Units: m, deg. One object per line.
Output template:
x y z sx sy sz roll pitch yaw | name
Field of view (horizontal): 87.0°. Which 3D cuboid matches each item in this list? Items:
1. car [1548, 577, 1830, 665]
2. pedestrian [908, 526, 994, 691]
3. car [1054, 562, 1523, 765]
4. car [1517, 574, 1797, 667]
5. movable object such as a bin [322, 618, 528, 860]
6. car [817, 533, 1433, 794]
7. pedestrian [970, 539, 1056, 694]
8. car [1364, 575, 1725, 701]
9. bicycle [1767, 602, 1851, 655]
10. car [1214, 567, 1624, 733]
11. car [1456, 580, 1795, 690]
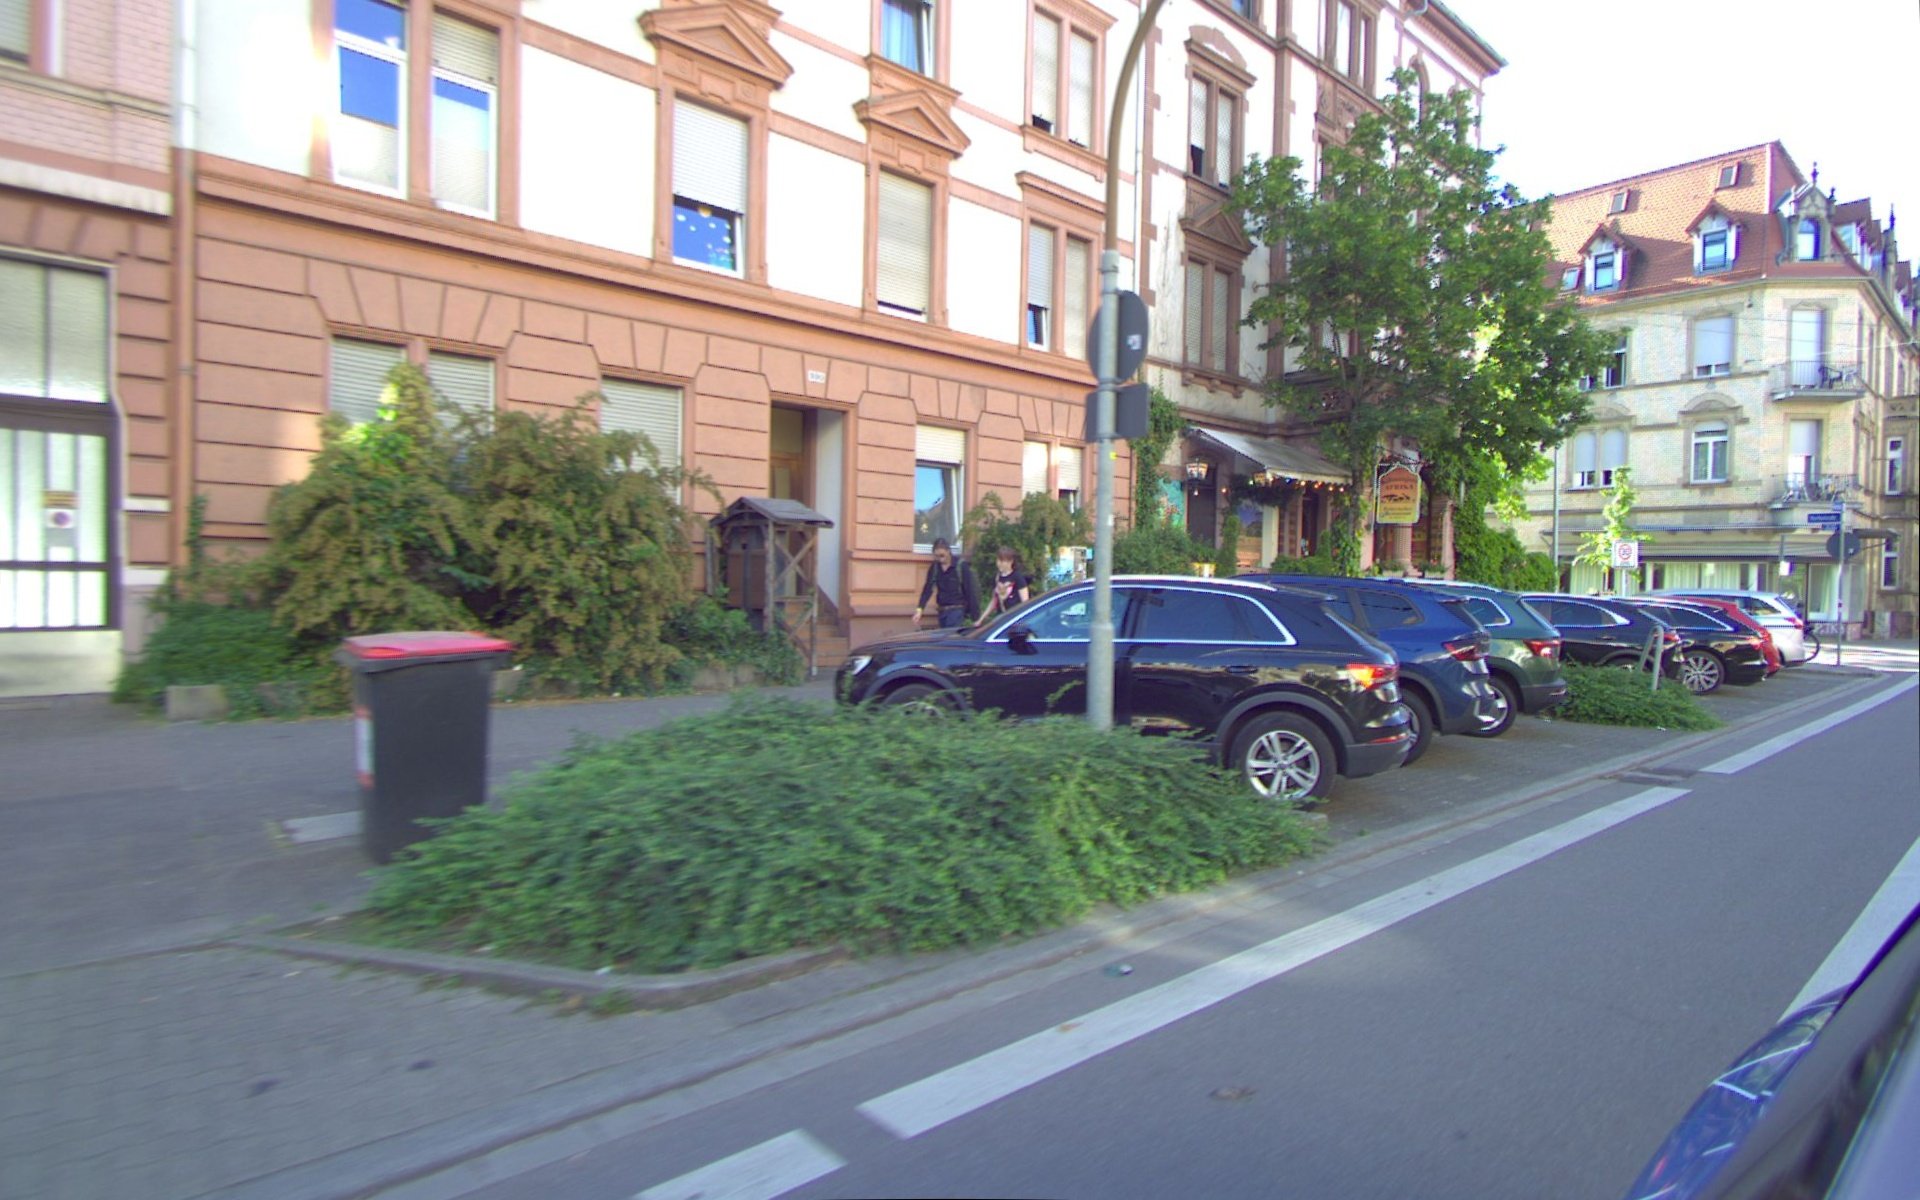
14.465 0.360 20.432 4.320 1.616 1.837 0 1 26 | car
-0.103 0.086 11.536 0.848 1.800 0.519 0 0 -41 | pedestrian
3.116 0.474 9.843 3.958 1.616 2.070 0 1 26 | car
12.596 0.319 18.635 3.958 1.556 1.902 0 1 26 | car
-2.646 0.630 5.007 0.792 1.040 0.605 0 2 -41 | movable object such as a bin
1.230 0.363 7.906 4.262 1.616 1.970 0 1 20 | car
0.594 0.170 11.371 0.848 1.669 0.519 0 0 -41 | pedestrian
8.261 0.450 14.780 4.287 1.616 2.028 0 1 26 | car
19.333 0.641 23.066 0.542 1.141 1.400 0 1 -40 | bicycle
5.087 0.452 11.603 3.958 1.616 1.942 0 1 26 | car
10.710 0.487 16.764 4.403 1.616 2.071 0 1 26 | car
